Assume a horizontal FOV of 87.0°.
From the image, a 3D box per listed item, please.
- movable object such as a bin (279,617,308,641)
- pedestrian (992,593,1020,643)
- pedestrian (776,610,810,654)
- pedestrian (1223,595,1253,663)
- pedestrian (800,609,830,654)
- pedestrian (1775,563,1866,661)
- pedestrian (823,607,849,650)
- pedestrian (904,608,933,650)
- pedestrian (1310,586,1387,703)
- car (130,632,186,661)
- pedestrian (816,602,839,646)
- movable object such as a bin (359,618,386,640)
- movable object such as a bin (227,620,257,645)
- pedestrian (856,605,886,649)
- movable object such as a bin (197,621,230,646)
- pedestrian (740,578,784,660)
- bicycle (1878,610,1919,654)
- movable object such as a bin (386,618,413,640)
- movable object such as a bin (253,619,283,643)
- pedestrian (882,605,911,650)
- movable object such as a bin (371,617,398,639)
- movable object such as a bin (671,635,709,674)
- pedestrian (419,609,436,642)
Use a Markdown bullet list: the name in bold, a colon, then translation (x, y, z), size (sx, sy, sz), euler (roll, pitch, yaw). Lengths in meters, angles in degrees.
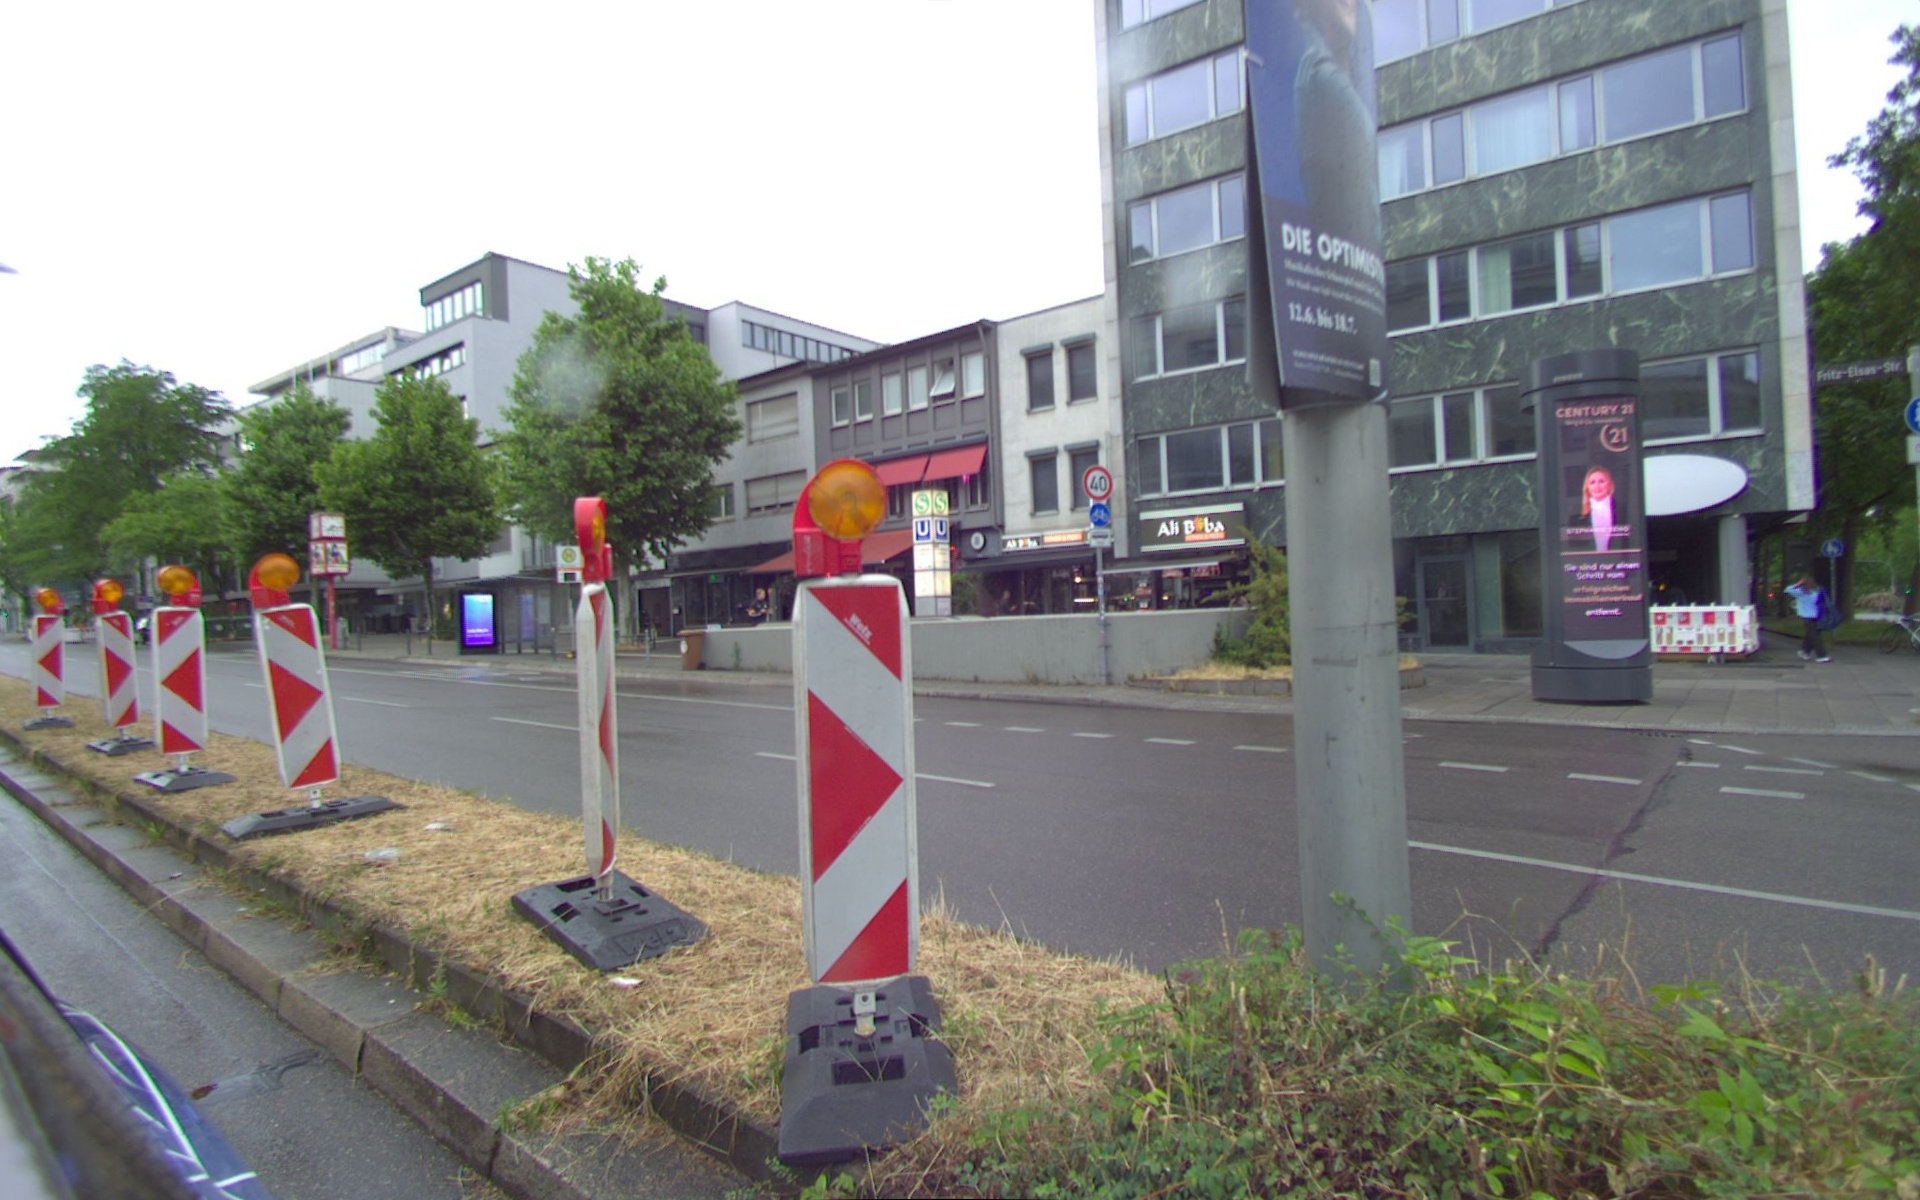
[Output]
- **movable object such as a bin**: translation (-41.596, 1.813, 63.180), size (1.088, 1.499, 1.265), euler (-2, -1, 41)
- **pedestrian**: translation (1.368, 0.542, 30.066), size (0.587, 1.461, 0.597), euler (-2, -1, 36)
- **pedestrian**: translation (-5.640, 1.072, 34.179), size (0.912, 1.461, 0.683), euler (-2, -1, 37)
- **pedestrian**: translation (7.934, 0.814, 28.870), size (0.590, 1.899, 0.749), euler (-2, -1, 34)
- **pedestrian**: translation (-4.810, 1.039, 33.561), size (0.706, 1.461, 0.683), euler (-2, -1, 37)
- **pedestrian**: translation (16.946, 0.253, 19.956), size (0.866, 1.868, 1.023), euler (1, -4, 4)
- **pedestrian**: translation (-4.339, 0.991, 35.404), size (0.546, 1.461, 0.683), euler (-2, -1, 37)
- **pedestrian**: translation (-1.352, 0.933, 32.861), size (0.690, 1.354, 0.627), euler (-2, -1, 34)
- **pedestrian**: translation (5.725, 0.633, 14.936), size (0.745, 1.665, 0.694), euler (-1, -1, -27)
- **car**: translation (-48.104, 2.769, 60.705), size (4.019, 1.648, 1.761), euler (-3, -2, 38)
- **pedestrian**: translation (-4.876, 0.883, 37.368), size (0.603, 1.582, 0.591), euler (-1, -1, 31)
- **movable object such as a bin**: translation (-39.233, 1.914, 67.584), size (1.278, 1.446, 1.077), euler (-1, -1, 32)
- **movable object such as a bin**: translation (-43.324, 1.967, 61.082), size (1.088, 1.437, 1.265), euler (-2, -1, 41)
- **pedestrian**: translation (-3.031, 0.923, 34.339), size (0.690, 1.461, 0.720), euler (-2, -1, 34)
- **movable object such as a bin**: translation (-44.236, 1.959, 59.990), size (1.088, 1.437, 1.345), euler (-2, -1, 41)
- **pedestrian**: translation (-4.697, 0.455, 24.037), size (0.757, 1.899, 0.683), euler (-2, -1, 37)
- **bicycle**: translation (20.863, 0.678, 21.617), size (0.468, 0.941, 1.803), euler (0, -1, -39)
- **movable object such as a bin**: translation (-36.643, 1.889, 66.135), size (1.278, 1.446, 1.077), euler (-1, -1, 32)
- **movable object such as a bin**: translation (-42.487, 1.887, 62.126), size (1.088, 1.437, 1.265), euler (-2, -1, 41)
- **pedestrian**: translation (-2.098, 0.896, 33.312), size (0.690, 1.461, 0.627), euler (-2, -1, 34)
- **movable object such as a bin**: translation (-37.947, 1.829, 66.728), size (1.278, 1.446, 1.077), euler (-1, -1, 32)
- **movable object such as a bin**: translation (-6.272, 1.262, 23.529), size (0.680, 0.904, 0.527), euler (-1, -3, 32)
- **pedestrian**: translation (-29.200, 1.384, 55.508), size (0.653, 1.776, 0.688), euler (-2, -1, 43)
